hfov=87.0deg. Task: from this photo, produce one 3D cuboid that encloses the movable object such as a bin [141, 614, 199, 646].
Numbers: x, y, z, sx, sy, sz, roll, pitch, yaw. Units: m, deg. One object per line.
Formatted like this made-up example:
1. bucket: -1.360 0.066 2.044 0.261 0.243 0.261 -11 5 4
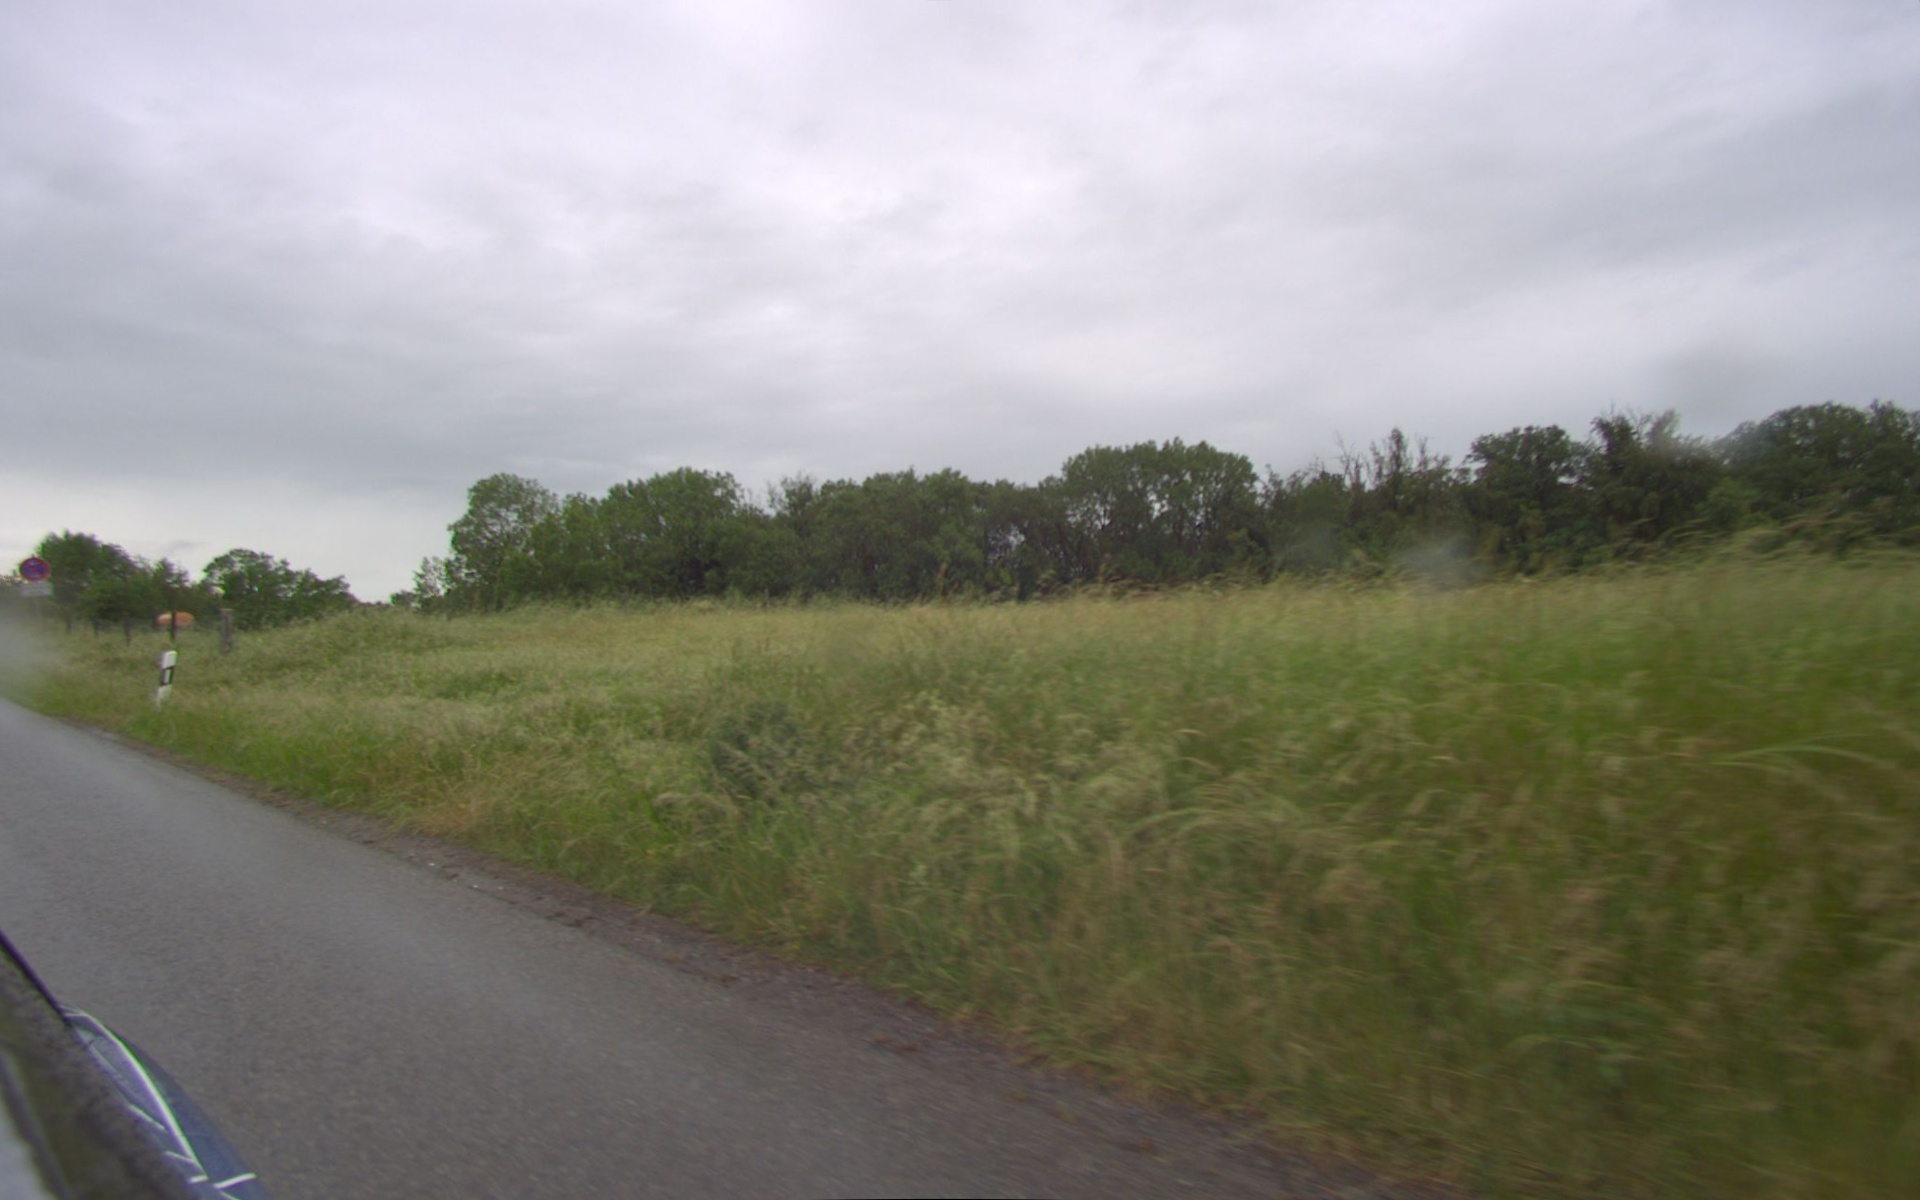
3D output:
1. movable object such as a bin: -40.933 1.540 52.440 3.535 1.583 1.662 -1 0 40
